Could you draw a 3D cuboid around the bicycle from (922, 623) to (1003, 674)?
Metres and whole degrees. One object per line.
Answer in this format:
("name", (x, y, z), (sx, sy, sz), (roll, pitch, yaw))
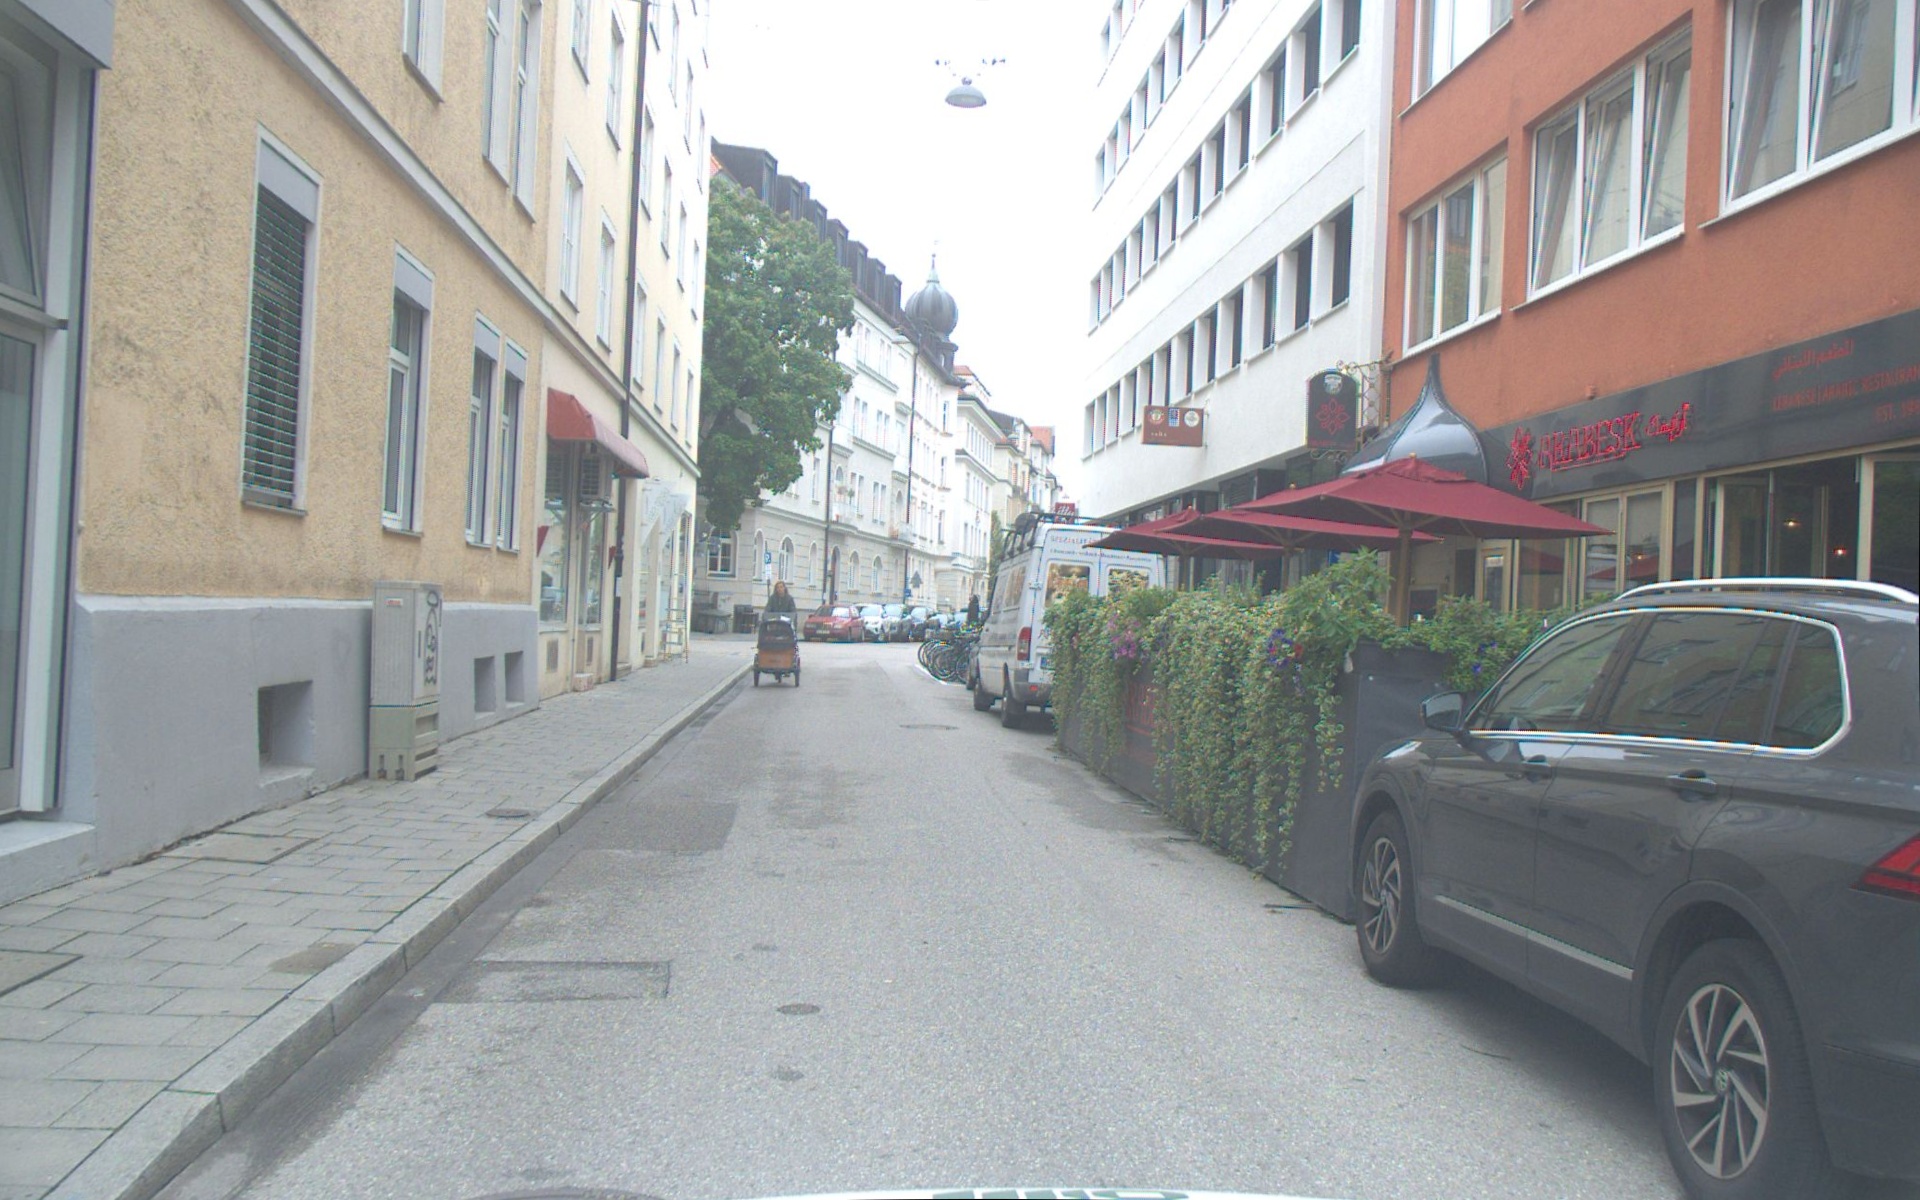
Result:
("bicycle", (0.053, 1.146, 39.101), (1.838, 1.098, 0.408), (3, 0, -8))

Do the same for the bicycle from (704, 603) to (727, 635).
("bicycle", (-8.971, 0.697, 60.701), (0.483, 1.071, 1.827), (3, 1, 1))

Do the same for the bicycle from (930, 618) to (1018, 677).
("bicycle", (0.292, 1.040, 36.103), (1.838, 1.225, 0.579), (2, -1, -7))

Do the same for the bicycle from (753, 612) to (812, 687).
("bicycle", (-3.181, 0.875, 29.839), (0.913, 1.279, 2.412), (2, -1, -4))

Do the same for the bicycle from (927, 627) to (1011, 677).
("bicycle", (0.212, 1.190, 37.974), (1.838, 1.070, 0.563), (3, -2, -8))

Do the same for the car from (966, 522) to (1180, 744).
("car", (1.386, 0.405, 22.948), (1.883, 2.549, 5.990), (4, 0, -5))

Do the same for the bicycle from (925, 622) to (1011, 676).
("bicycle", (0.173, 1.111, 37.266), (1.838, 1.114, 0.439), (3, 0, -8))

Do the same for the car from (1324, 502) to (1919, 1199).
("car", (2.749, 0.730, 5.548), (1.788, 1.740, 4.386), (4, -1, -3))

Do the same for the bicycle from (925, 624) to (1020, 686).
("bicycle", (0.256, 1.140, 34.160), (1.838, 1.127, 0.488), (4, 0, -7))

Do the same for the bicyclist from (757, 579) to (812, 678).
("bicyclist", (-3.193, 0.508, 30.187), (0.908, 1.751, 1.098), (1, -1, -4))

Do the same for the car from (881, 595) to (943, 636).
("car", (-2.193, 0.745, 77.016), (1.951, 1.768, 4.525), (3, -1, 10))

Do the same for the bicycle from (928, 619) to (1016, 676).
("bicycle", (0.258, 1.048, 36.704), (1.857, 1.190, 0.565), (2, -1, -7))

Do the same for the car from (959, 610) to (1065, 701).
("car", (0.902, 0.975, 30.519), (1.549, 1.489, 3.549), (3, 0, -4))

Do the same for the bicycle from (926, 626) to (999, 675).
("bicycle", (0.058, 1.221, 40.343), (1.707, 1.098, 0.451), (3, 0, -8))

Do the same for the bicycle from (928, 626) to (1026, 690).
("bicycle", (0.336, 1.163, 33.245), (1.838, 1.098, 0.488), (5, 0, -7))

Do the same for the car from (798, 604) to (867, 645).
("car", (-4.767, 0.929, 62.266), (1.694, 1.402, 4.229), (3, -1, 7))

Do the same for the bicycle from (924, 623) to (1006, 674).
("bicycle", (0.122, 1.135, 38.666), (1.838, 1.098, 0.402), (3, 0, -8))

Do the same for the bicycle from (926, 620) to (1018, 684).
("bicycle", (0.246, 1.088, 34.681), (1.838, 1.225, 0.488), (3, 0, -7))

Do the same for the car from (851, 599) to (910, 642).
("car", (-3.416, 0.904, 72.051), (1.902, 1.732, 4.002), (3, -1, 6))

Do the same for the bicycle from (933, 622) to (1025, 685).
("bicycle", (0.410, 1.142, 35.378), (1.838, 1.177, 0.564), (4, 0, -7))

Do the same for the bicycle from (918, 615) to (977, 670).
("bicycle", (-0.318, 1.091, 42.565), (1.428, 1.307, 0.445), (3, -1, -4))

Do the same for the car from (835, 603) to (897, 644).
("car", (-3.804, 0.952, 67.427), (1.952, 1.499, 4.220), (3, -1, 4))

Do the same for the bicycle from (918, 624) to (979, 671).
("bicycle", (-0.281, 1.202, 41.553), (1.425, 1.088, 0.462), (3, -1, -12))
